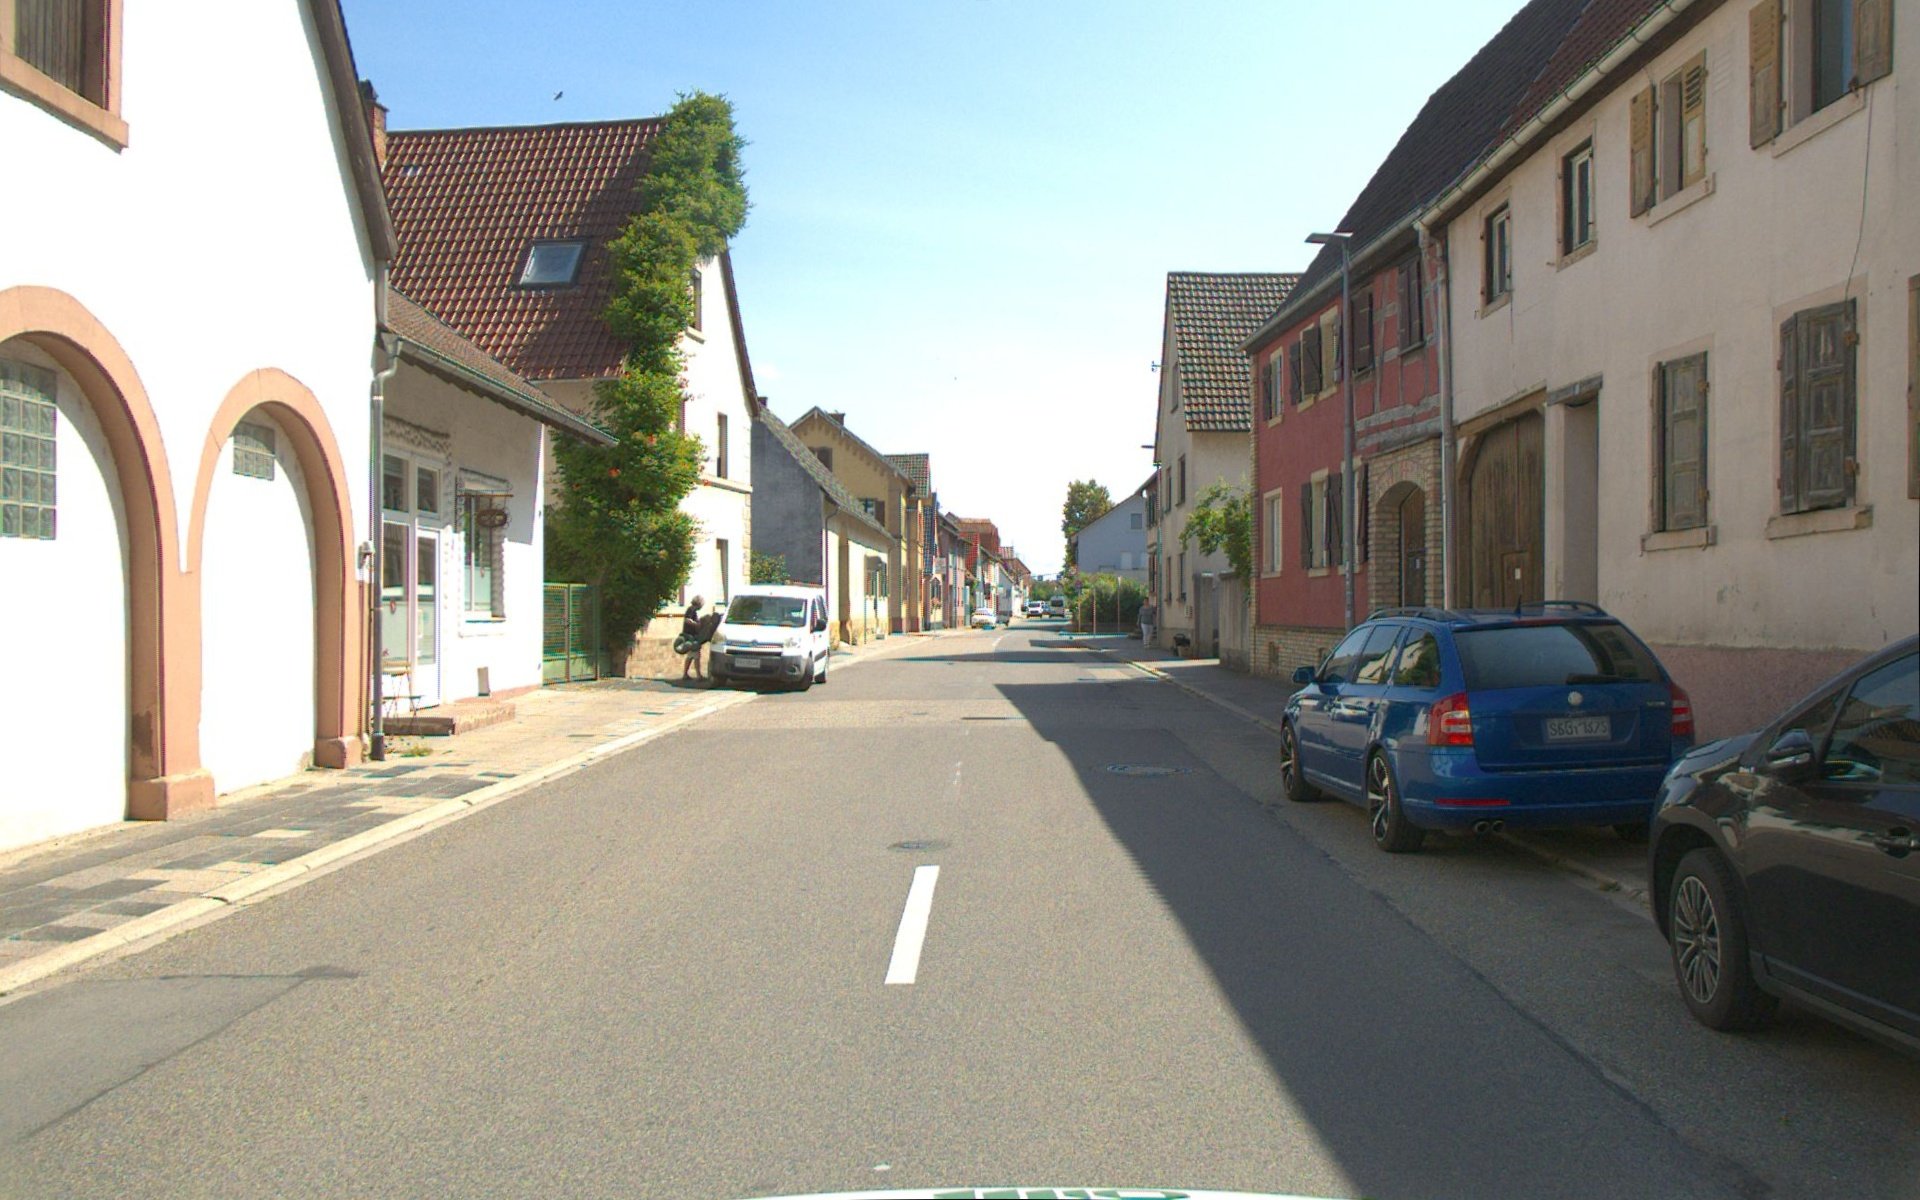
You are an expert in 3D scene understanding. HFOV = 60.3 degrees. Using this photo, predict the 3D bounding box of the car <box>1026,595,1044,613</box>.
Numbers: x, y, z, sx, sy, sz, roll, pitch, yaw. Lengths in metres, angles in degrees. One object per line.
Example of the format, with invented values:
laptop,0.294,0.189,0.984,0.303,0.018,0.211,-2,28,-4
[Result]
car,9.412,0.507,207.290,2.113,2.116,4.000,-1,-2,1

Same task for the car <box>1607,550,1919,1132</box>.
car,3.471,0.644,4.644,1.664,1.611,4.027,-2,0,-1

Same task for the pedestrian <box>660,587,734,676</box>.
pedestrian,-4.771,0.558,29.937,1.121,1.579,1.010,0,0,-23

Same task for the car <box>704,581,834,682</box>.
car,-3.342,0.514,29.684,1.817,1.676,4.429,0,0,0

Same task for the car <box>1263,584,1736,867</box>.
car,3.357,0.691,11.247,1.664,1.495,4.409,-2,0,-1

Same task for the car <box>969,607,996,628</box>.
car,1.718,1.295,124.380,1.952,1.467,4.001,-1,0,2

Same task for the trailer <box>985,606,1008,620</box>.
trailer,3.105,1.122,141.196,1.952,1.109,4.000,-1,0,1

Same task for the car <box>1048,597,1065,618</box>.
car,11.916,0.907,204.667,1.975,2.613,4.001,-1,0,2

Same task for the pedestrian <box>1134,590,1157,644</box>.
pedestrian,5.832,0.533,52.155,0.703,1.693,0.893,0,0,5
